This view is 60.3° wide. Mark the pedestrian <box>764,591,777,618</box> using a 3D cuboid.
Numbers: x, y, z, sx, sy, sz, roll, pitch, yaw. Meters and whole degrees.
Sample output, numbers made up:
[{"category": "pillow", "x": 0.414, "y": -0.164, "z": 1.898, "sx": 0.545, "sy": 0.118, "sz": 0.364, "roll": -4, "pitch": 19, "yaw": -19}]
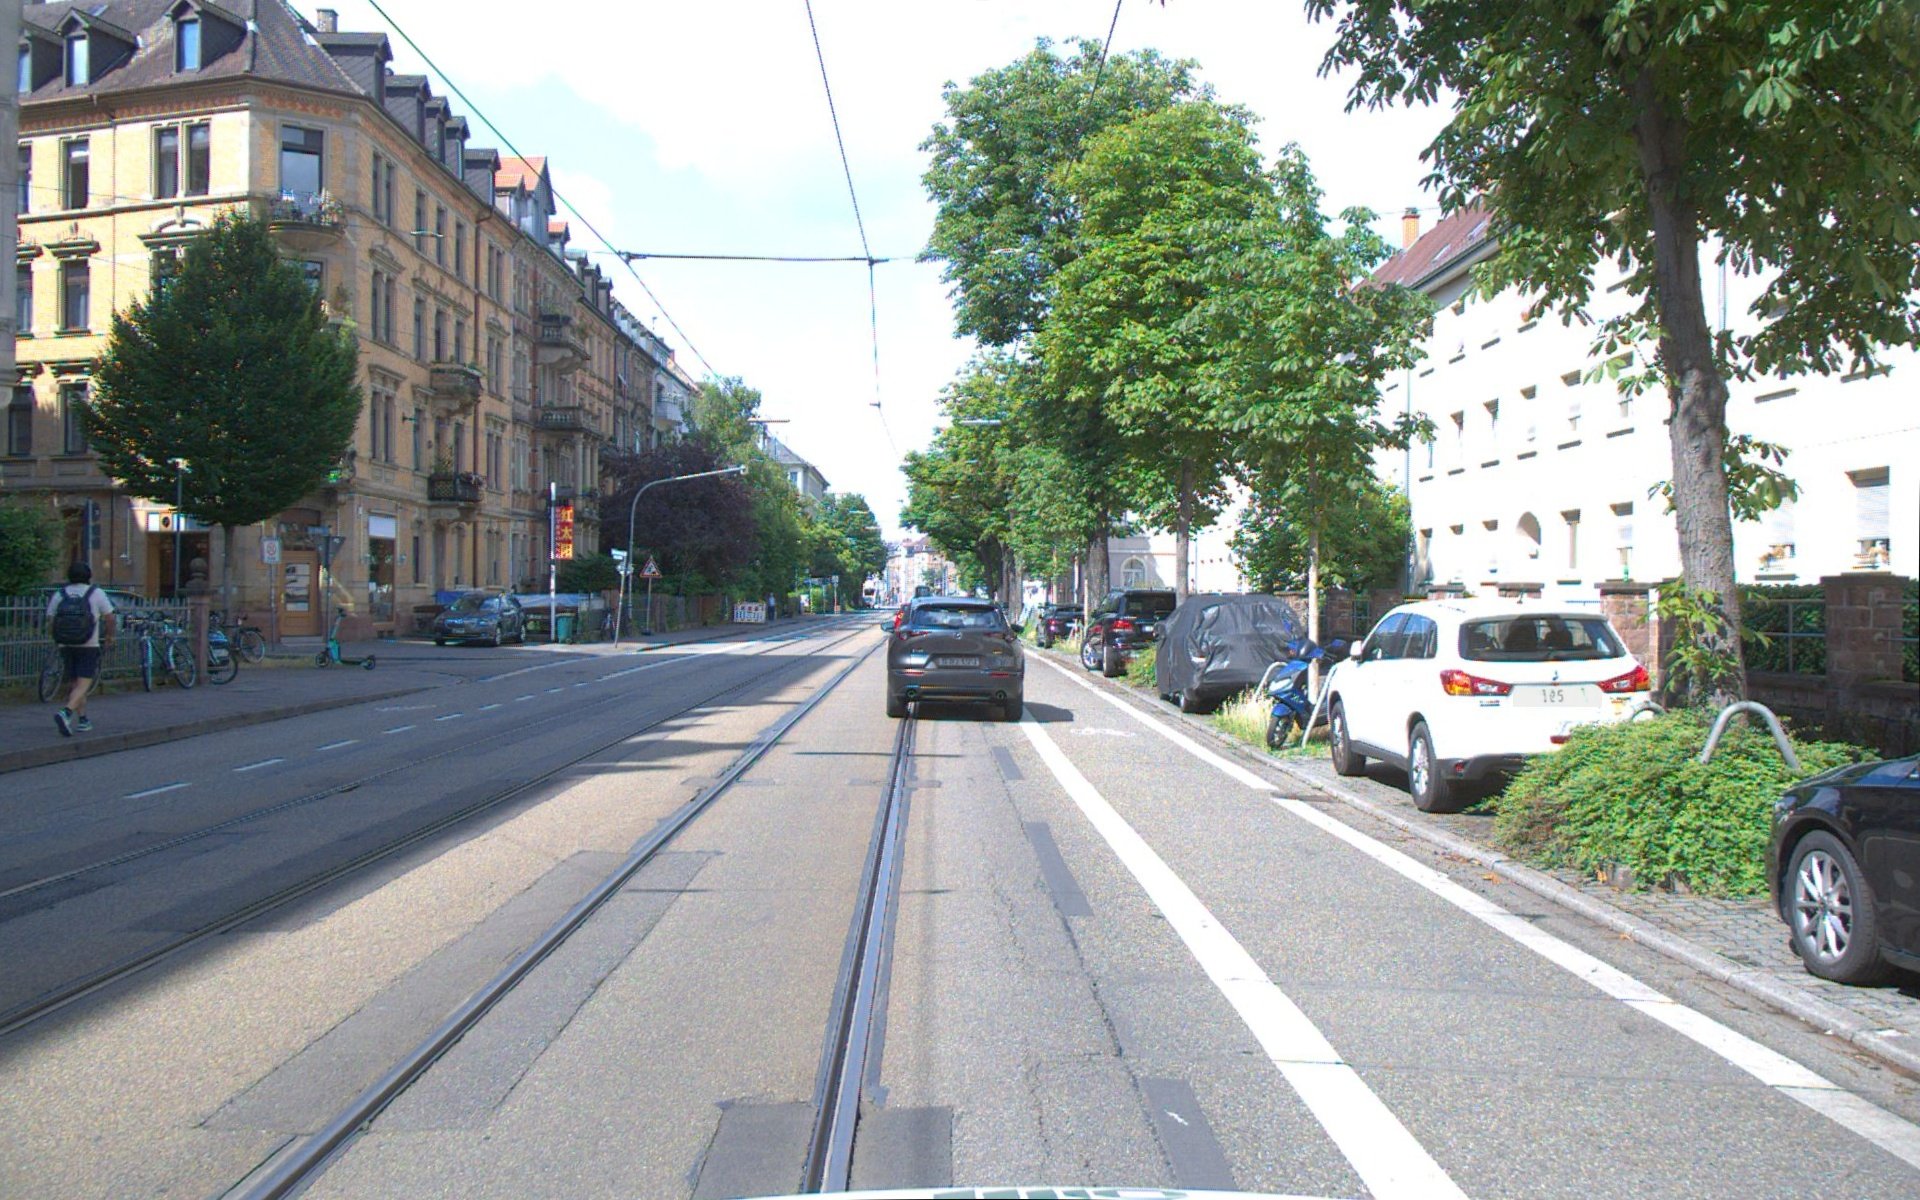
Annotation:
[{"category": "pedestrian", "x": -12.170, "y": 0.293, "z": 106.253, "sx": 0.806, "sy": 1.736, "sz": 0.891, "roll": 0, "pitch": 0, "yaw": -4}]

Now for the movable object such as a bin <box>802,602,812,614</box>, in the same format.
[{"category": "movable object such as a bin", "x": -12.970, "y": 0.663, "z": 140.515, "sx": 0.730, "sy": 1.005, "sz": 1.114, "roll": 2, "pitch": 0, "yaw": -1}]

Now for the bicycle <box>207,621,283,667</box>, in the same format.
[{"category": "bicycle", "x": -14.437, "y": 0.874, "z": 33.435, "sx": 0.512, "sy": 0.852, "sz": 1.699, "roll": 0, "pitch": 1, "yaw": 12}]

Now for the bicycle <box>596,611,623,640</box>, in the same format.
[{"category": "bicycle", "x": -11.755, "y": 0.850, "z": 55.526, "sx": 0.519, "sy": 0.963, "sz": 1.967, "roll": 0, "pitch": 0, "yaw": -1}]

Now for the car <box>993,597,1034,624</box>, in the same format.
[{"category": "car", "x": 2.988, "y": 0.572, "z": 93.041, "sx": 1.810, "sy": 1.434, "sz": 4.391, "roll": -2, "pitch": 0, "yaw": -4}]

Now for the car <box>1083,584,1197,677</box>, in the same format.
[{"category": "car", "x": 3.714, "y": 0.581, "z": 34.922, "sx": 1.790, "sy": 1.813, "sz": 4.732, "roll": 0, "pitch": 0, "yaw": -1}]

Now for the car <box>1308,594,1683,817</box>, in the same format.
[{"category": "car", "x": 4.343, "y": 0.764, "z": 14.149, "sx": 1.707, "sy": 1.608, "sz": 4.247, "roll": 1, "pitch": 0, "yaw": -2}]

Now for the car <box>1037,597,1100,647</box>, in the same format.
[{"category": "car", "x": 3.547, "y": 0.706, "z": 54.583, "sx": 1.672, "sy": 1.505, "sz": 4.195, "roll": 2, "pitch": 0, "yaw": -1}]

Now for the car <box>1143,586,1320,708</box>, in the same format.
[{"category": "car", "x": 4.026, "y": 0.653, "z": 25.267, "sx": 1.825, "sy": 1.682, "sz": 4.636, "roll": 0, "pitch": 0, "yaw": -2}]

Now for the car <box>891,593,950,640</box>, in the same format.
[{"category": "car", "x": -1.404, "y": 0.581, "z": 59.044, "sx": 1.953, "sy": 1.555, "sz": 3.999, "roll": 2, "pitch": 0, "yaw": -1}]

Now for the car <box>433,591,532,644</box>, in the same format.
[{"category": "car", "x": -14.151, "y": 0.489, "z": 49.235, "sx": 1.651, "sy": 1.485, "sz": 4.763, "roll": 0, "pitch": 0, "yaw": -1}]

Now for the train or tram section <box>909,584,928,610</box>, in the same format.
[{"category": "train or tram section", "x": -6.437, "y": -0.506, "z": 254.943, "sx": 2.520, "sy": 3.838, "sz": 13.017, "roll": 1, "pitch": 0, "yaw": -3}]

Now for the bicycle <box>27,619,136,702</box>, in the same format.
[{"category": "bicycle", "x": -11.304, "y": 0.755, "z": 21.355, "sx": 0.413, "sy": 0.993, "sz": 1.949, "roll": 0, "pitch": 0, "yaw": -2}]

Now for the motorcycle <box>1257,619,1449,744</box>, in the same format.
[{"category": "motorcycle", "x": 4.402, "y": 0.906, "z": 18.608, "sx": 1.967, "sy": 1.360, "sz": 0.746, "roll": 0, "pitch": 0, "yaw": -5}]

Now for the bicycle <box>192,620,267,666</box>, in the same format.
[{"category": "bicycle", "x": -14.974, "y": 0.871, "z": 33.923, "sx": 0.512, "sy": 0.852, "sz": 1.699, "roll": 0, "pitch": 1, "yaw": 12}]

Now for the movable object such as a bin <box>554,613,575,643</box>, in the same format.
[{"category": "movable object such as a bin", "x": -12.288, "y": 0.860, "z": 51.383, "sx": 0.514, "sy": 0.921, "sz": 0.636, "roll": 0, "pitch": 0, "yaw": -3}]

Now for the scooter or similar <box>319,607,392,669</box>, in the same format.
[{"category": "scooter or similar", "x": -12.481, "y": 0.790, "z": 34.152, "sx": 1.347, "sy": 1.256, "sz": 0.400, "roll": 1, "pitch": -1, "yaw": -30}]

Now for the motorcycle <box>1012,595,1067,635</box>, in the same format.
[{"category": "motorcycle", "x": 3.368, "y": 0.624, "z": 70.238, "sx": 2.341, "sy": 1.625, "sz": 0.676, "roll": 2, "pitch": 1, "yaw": 38}]

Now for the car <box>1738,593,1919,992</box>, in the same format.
[{"category": "car", "x": 4.566, "y": 0.755, "z": 5.708, "sx": 1.627, "sy": 1.547, "sz": 4.286, "roll": 1, "pitch": 0, "yaw": -2}]

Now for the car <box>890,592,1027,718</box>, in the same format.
[{"category": "car", "x": -0.062, "y": 0.681, "z": 22.161, "sx": 1.686, "sy": 1.553, "sz": 3.588, "roll": 0, "pitch": 0, "yaw": -1}]

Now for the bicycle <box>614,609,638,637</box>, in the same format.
[{"category": "bicycle", "x": -12.014, "y": 0.825, "z": 59.499, "sx": 0.519, "sy": 0.963, "sz": 1.967, "roll": 0, "pitch": 0, "yaw": -1}]

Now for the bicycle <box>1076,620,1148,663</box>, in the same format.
[{"category": "bicycle", "x": 3.681, "y": 0.997, "z": 40.107, "sx": 1.673, "sy": 1.025, "sz": 0.638, "roll": 0, "pitch": 0, "yaw": -1}]

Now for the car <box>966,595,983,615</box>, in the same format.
[{"category": "car", "x": 1.499, "y": 0.529, "z": 168.825, "sx": 1.685, "sy": 2.003, "sz": 4.206, "roll": 0, "pitch": 0, "yaw": 0}]

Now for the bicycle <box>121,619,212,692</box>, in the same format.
[{"category": "bicycle", "x": -11.438, "y": 0.782, "z": 23.892, "sx": 0.413, "sy": 0.993, "sz": 1.949, "roll": 0, "pitch": 0, "yaw": -2}]

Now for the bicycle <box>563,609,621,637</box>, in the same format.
[{"category": "bicycle", "x": -12.868, "y": 0.800, "z": 57.884, "sx": 1.923, "sy": 0.963, "sz": 0.531, "roll": 1, "pitch": 0, "yaw": -6}]

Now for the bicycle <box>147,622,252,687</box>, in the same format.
[{"category": "bicycle", "x": -11.767, "y": 0.840, "z": 25.594, "sx": 1.423, "sy": 0.994, "sz": 0.404, "roll": 0, "pitch": 0, "yaw": -2}]

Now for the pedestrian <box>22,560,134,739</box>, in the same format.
[{"category": "pedestrian", "x": -9.183, "y": 0.499, "z": 17.264, "sx": 0.522, "sy": 1.791, "sz": 1.105, "roll": 2, "pitch": 0, "yaw": -2}]

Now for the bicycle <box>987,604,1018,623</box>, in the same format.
[{"category": "bicycle", "x": 2.741, "y": 0.892, "z": 105.897, "sx": 1.895, "sy": 1.196, "sz": 0.513, "roll": -1, "pitch": -1, "yaw": 11}]

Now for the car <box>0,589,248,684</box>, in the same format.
[{"category": "car", "x": -13.768, "y": 0.568, "z": 26.965, "sx": 3.528, "sy": 1.427, "sz": 1.787, "roll": 1, "pitch": 0, "yaw": 3}]
